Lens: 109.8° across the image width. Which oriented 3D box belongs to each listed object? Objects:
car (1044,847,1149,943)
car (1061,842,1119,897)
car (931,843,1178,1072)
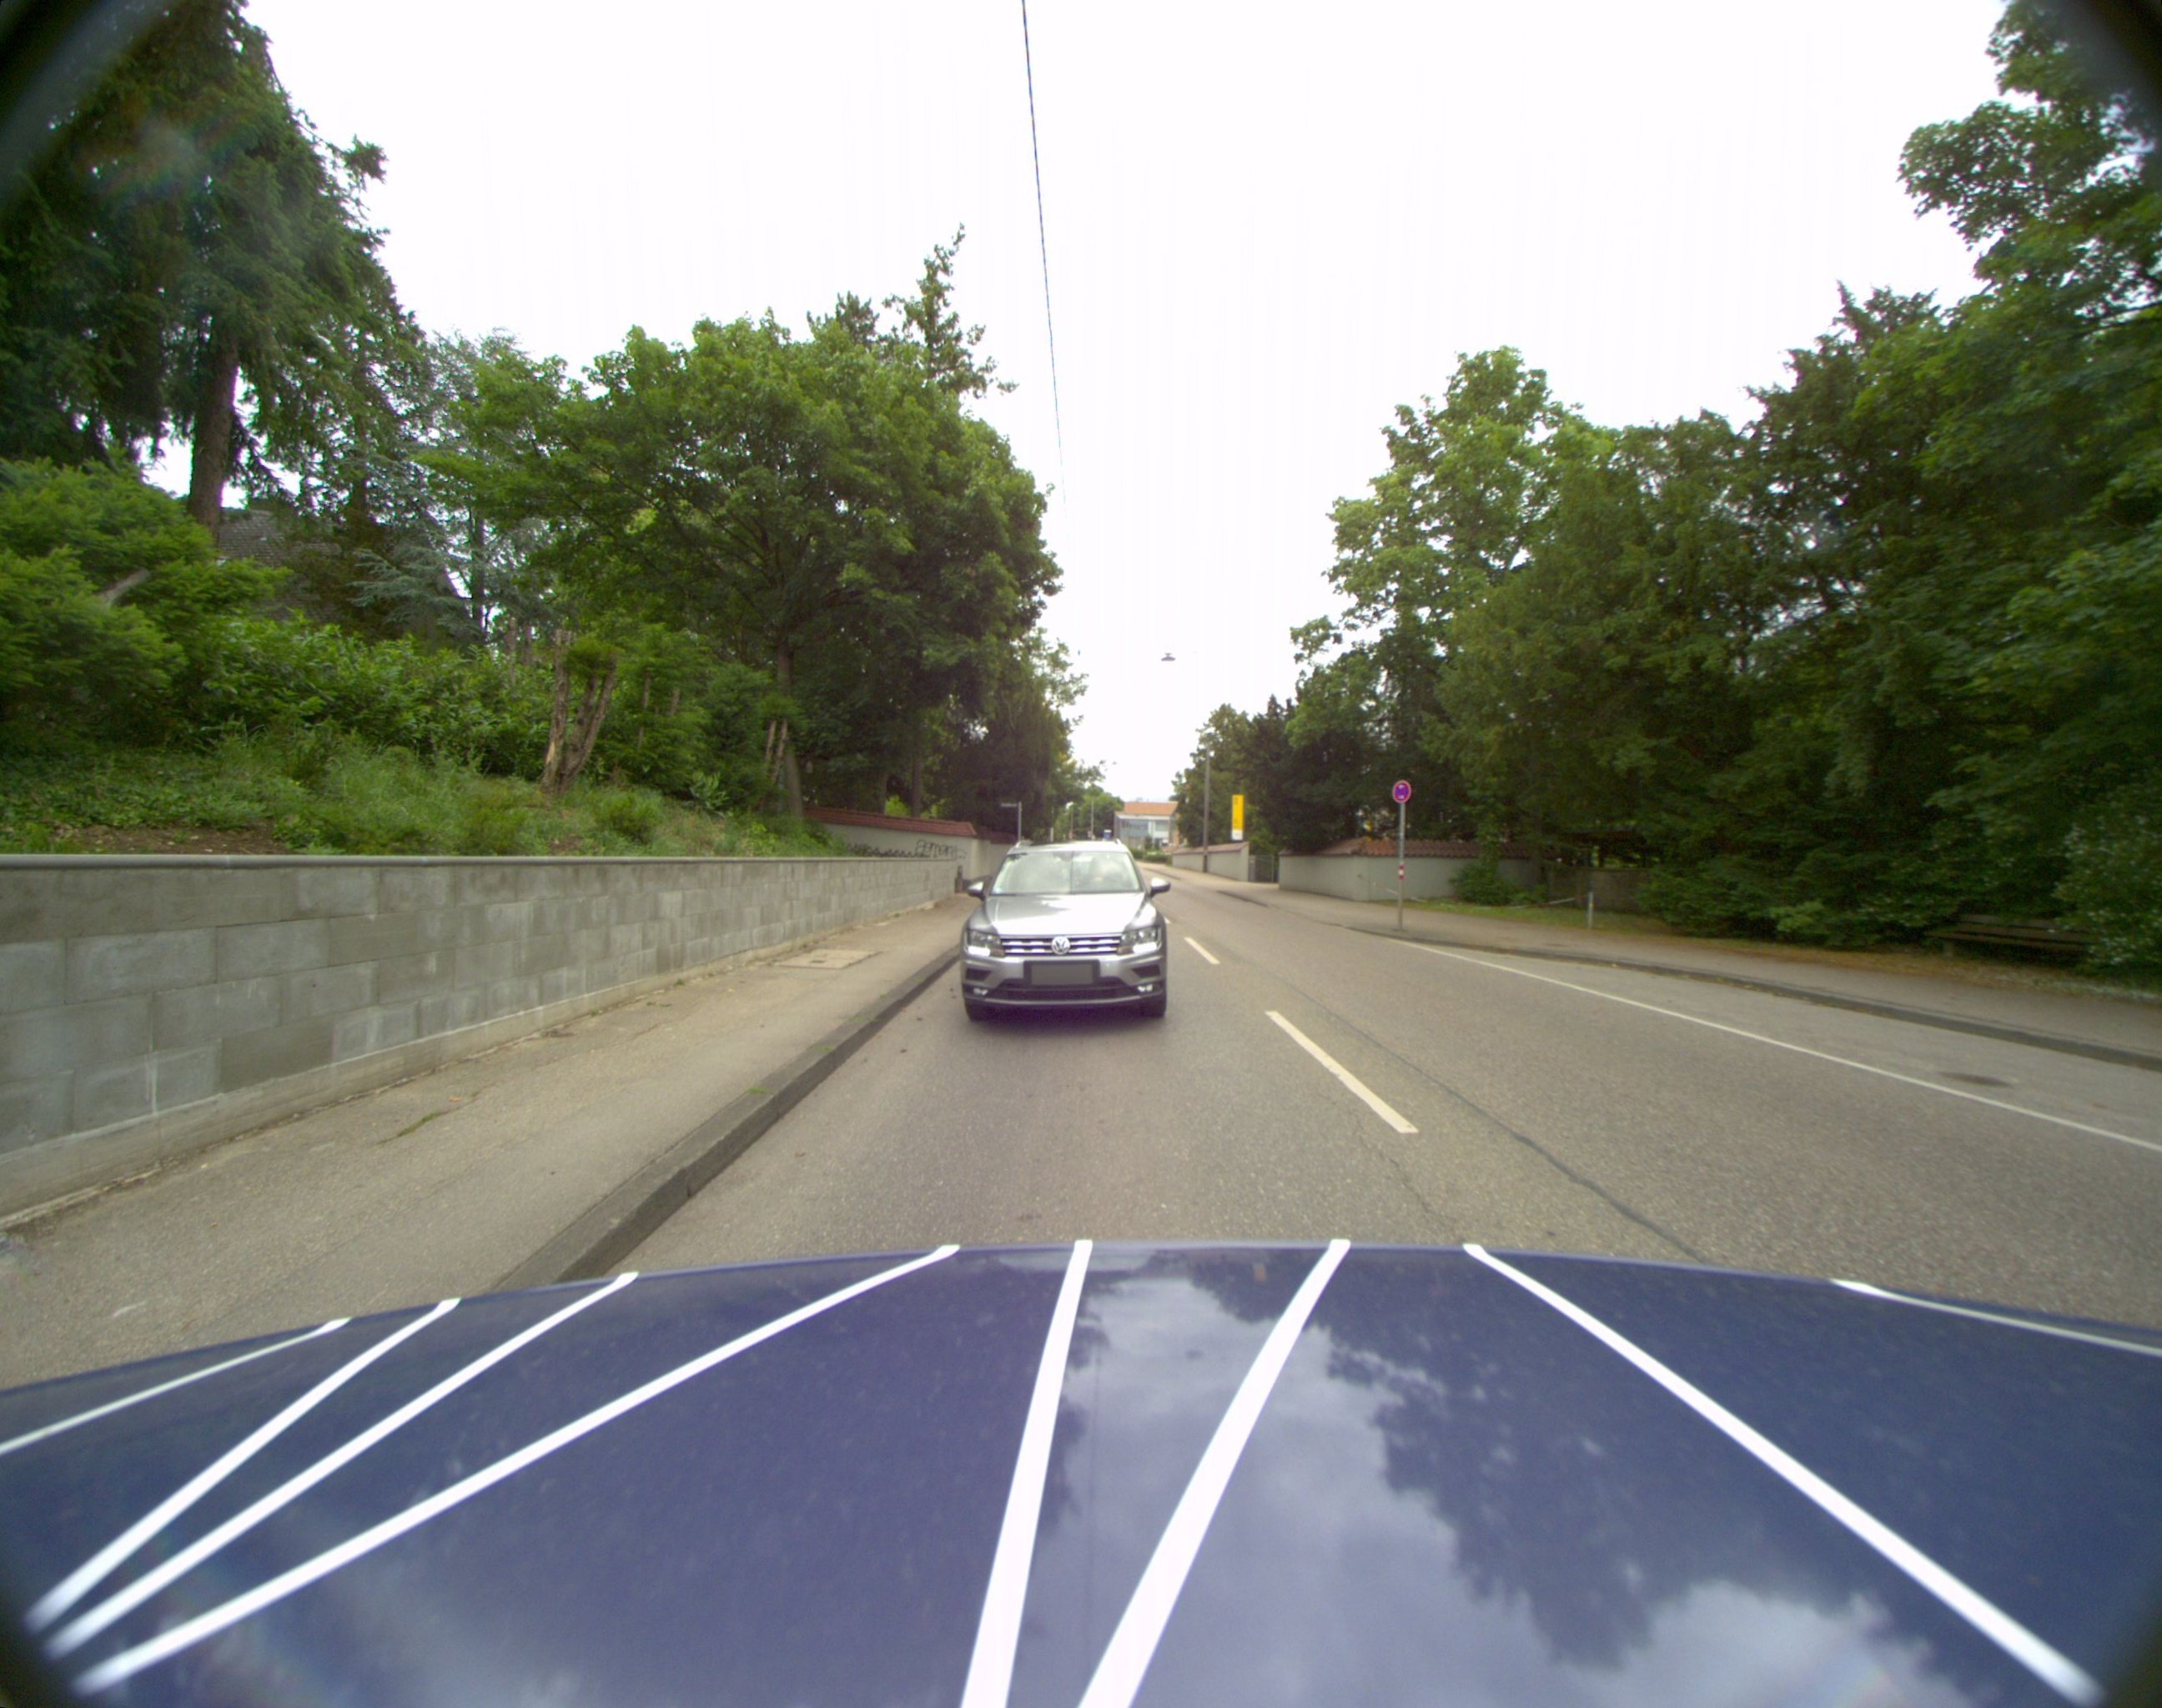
[{"bbox_3d":[0.283,0.687,15.410,1.820,1.647,4.487,0,1,0],"label":"car"},{"bbox_3d":[0.304,0.453,26.161,1.820,1.733,4.487,0,1,0],"label":"car"},{"bbox_3d":[-0.186,0.760,8.093,1.820,1.690,4.718,-1,1,0],"label":"car"}]
